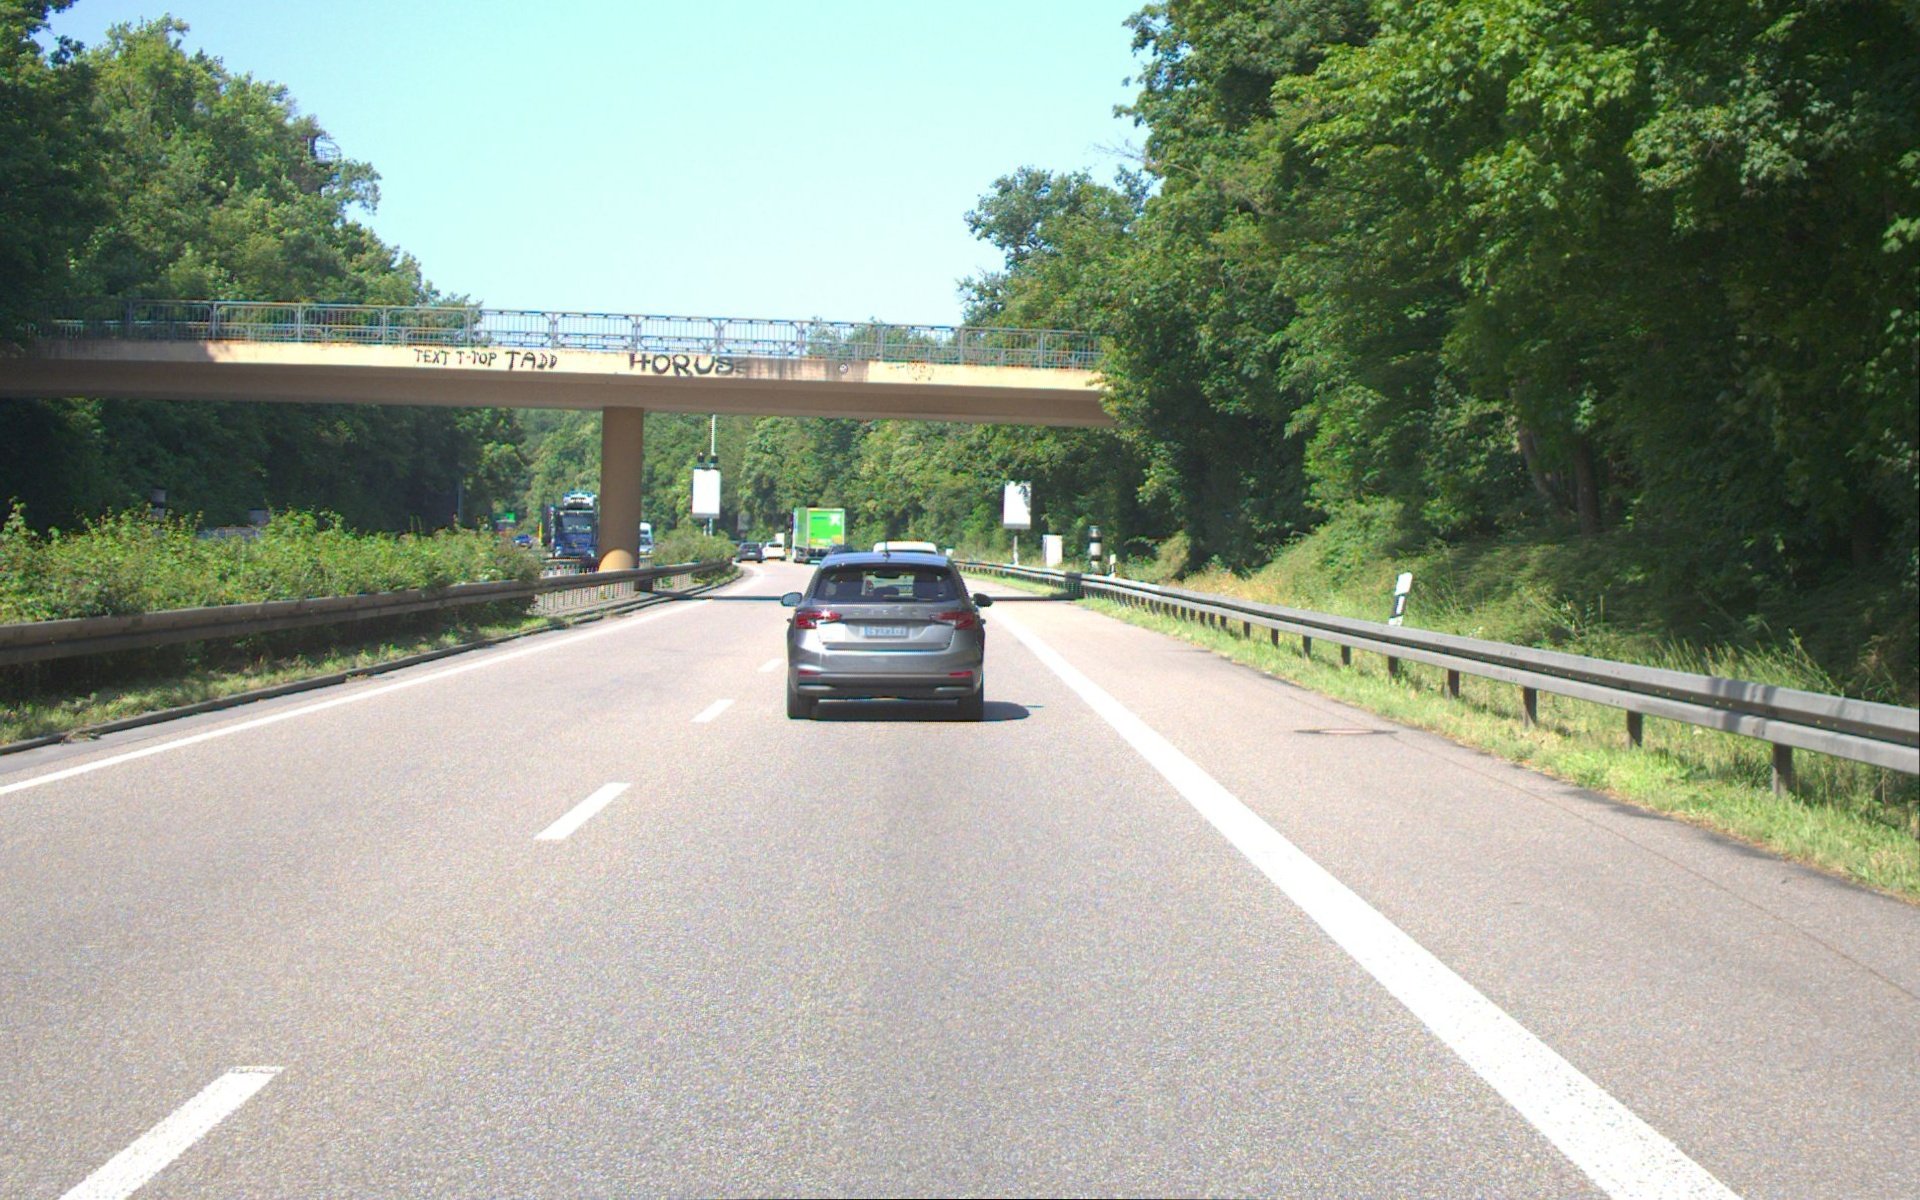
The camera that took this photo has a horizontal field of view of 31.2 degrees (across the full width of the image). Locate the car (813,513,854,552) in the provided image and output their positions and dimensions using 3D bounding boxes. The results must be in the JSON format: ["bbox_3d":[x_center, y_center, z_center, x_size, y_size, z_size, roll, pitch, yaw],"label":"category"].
[{"bbox_3d":[-8.731,-4.670,237.527,2.748,2.645,4.000,1,1,0],"label":"car"}]

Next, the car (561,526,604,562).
[{"bbox_3d":[-21.295,-3.156,193.871,1.993,2.007,4.000,1,1,0],"label":"car"}]

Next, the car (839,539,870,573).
[{"bbox_3d":[-6.400,-2.684,208.608,1.763,2.007,3.587,1,1,0],"label":"car"}]

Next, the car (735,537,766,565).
[{"bbox_3d":[-14.907,-3.497,245.046,1.993,2.007,4.000,1,1,-1],"label":"car"}]

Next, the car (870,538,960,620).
[{"bbox_3d":[-0.806,-0.406,63.031,1.522,1.442,3.340,1,1,1],"label":"car"}]

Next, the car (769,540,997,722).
[{"bbox_3d":[-0.620,0.226,30.340,1.840,1.467,3.623,1,1,1],"label":"car"}]
